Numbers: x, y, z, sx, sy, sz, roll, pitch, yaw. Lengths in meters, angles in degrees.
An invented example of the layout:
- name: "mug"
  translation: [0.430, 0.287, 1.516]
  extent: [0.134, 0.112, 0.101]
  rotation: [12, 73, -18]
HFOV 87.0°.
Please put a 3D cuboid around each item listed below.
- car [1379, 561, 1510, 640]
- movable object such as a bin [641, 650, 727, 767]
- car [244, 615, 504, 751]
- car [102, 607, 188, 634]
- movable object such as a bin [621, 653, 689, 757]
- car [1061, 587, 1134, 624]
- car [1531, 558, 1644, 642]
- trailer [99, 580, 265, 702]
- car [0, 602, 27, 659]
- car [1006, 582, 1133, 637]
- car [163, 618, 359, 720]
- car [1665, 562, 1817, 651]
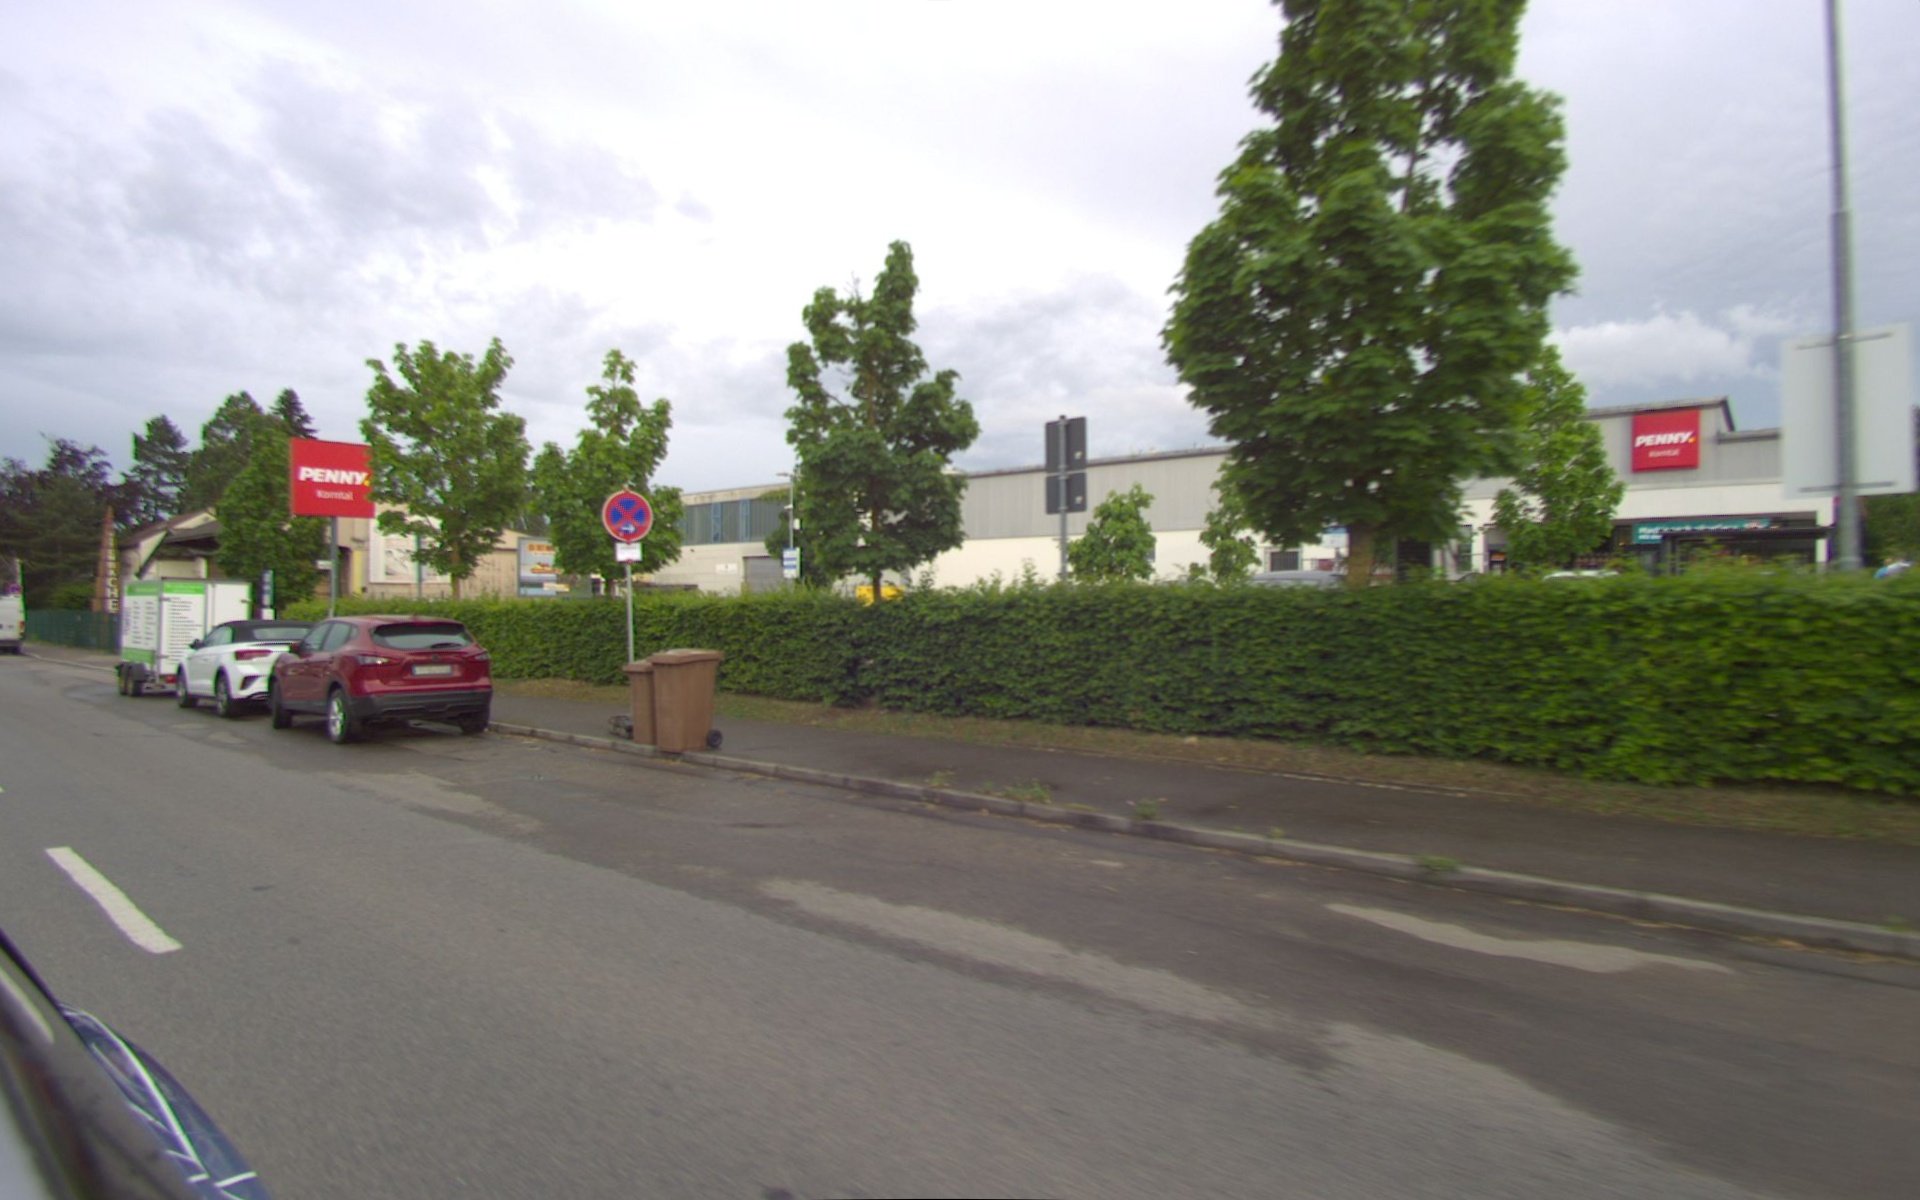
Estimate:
- name: "car"
  translation: [10.619, -0.028, 22.037]
  extent: [1.882, 1.563, 4.018]
  rotation: [-1, 1, 36]
- name: "movable object such as a bin"
  translation: [-2.988, 1.150, 10.962]
  extent: [0.665, 1.166, 0.622]
  rotation: [-2, 1, -45]
- name: "car"
  translation: [-8.186, 1.027, 13.977]
  extent: [4.339, 1.585, 1.787]
  rotation: [-1, -1, 40]
- name: "car"
  translation: [-63.222, 1.586, 78.532]
  extent: [2.000, 1.871, 4.944]
  rotation: [0, 1, 43]
- name: "movable object such as a bin"
  translation: [-3.481, 1.175, 11.535]
  extent: [0.485, 1.090, 0.621]
  rotation: [-2, 1, -45]
- name: "car"
  translation: [6.551, 0.240, 48.046]
  extent: [1.659, 1.618, 3.687]
  rotation: [0, 1, 41]
- name: "car"
  translation: [12.879, -0.035, 20.669]
  extent: [1.691, 1.531, 3.855]
  rotation: [-1, 1, 36]
- name: "trailer"
  translation: [-16.667, 0.852, 21.586]
  extent: [4.727, 2.331, 1.794]
  rotation: [-1, -3, 40]
- name: "car"
  translation: [-43.580, 1.326, 45.125]
  extent: [6.456, 2.445, 2.135]
  rotation: [-1, -3, 41]
- name: "car"
  translation: [3.133, 0.231, 28.359]
  extent: [1.800, 1.397, 3.941]
  rotation: [-1, 1, 36]
- name: "car"
  translation: [-12.008, 1.098, 17.293]
  extent: [4.134, 1.510, 1.754]
  rotation: [-2, -1, 40]
- name: "car"
  translation: [14.673, 0.067, 18.933]
  extent: [1.917, 1.488, 4.011]
  rotation: [0, 1, 42]
